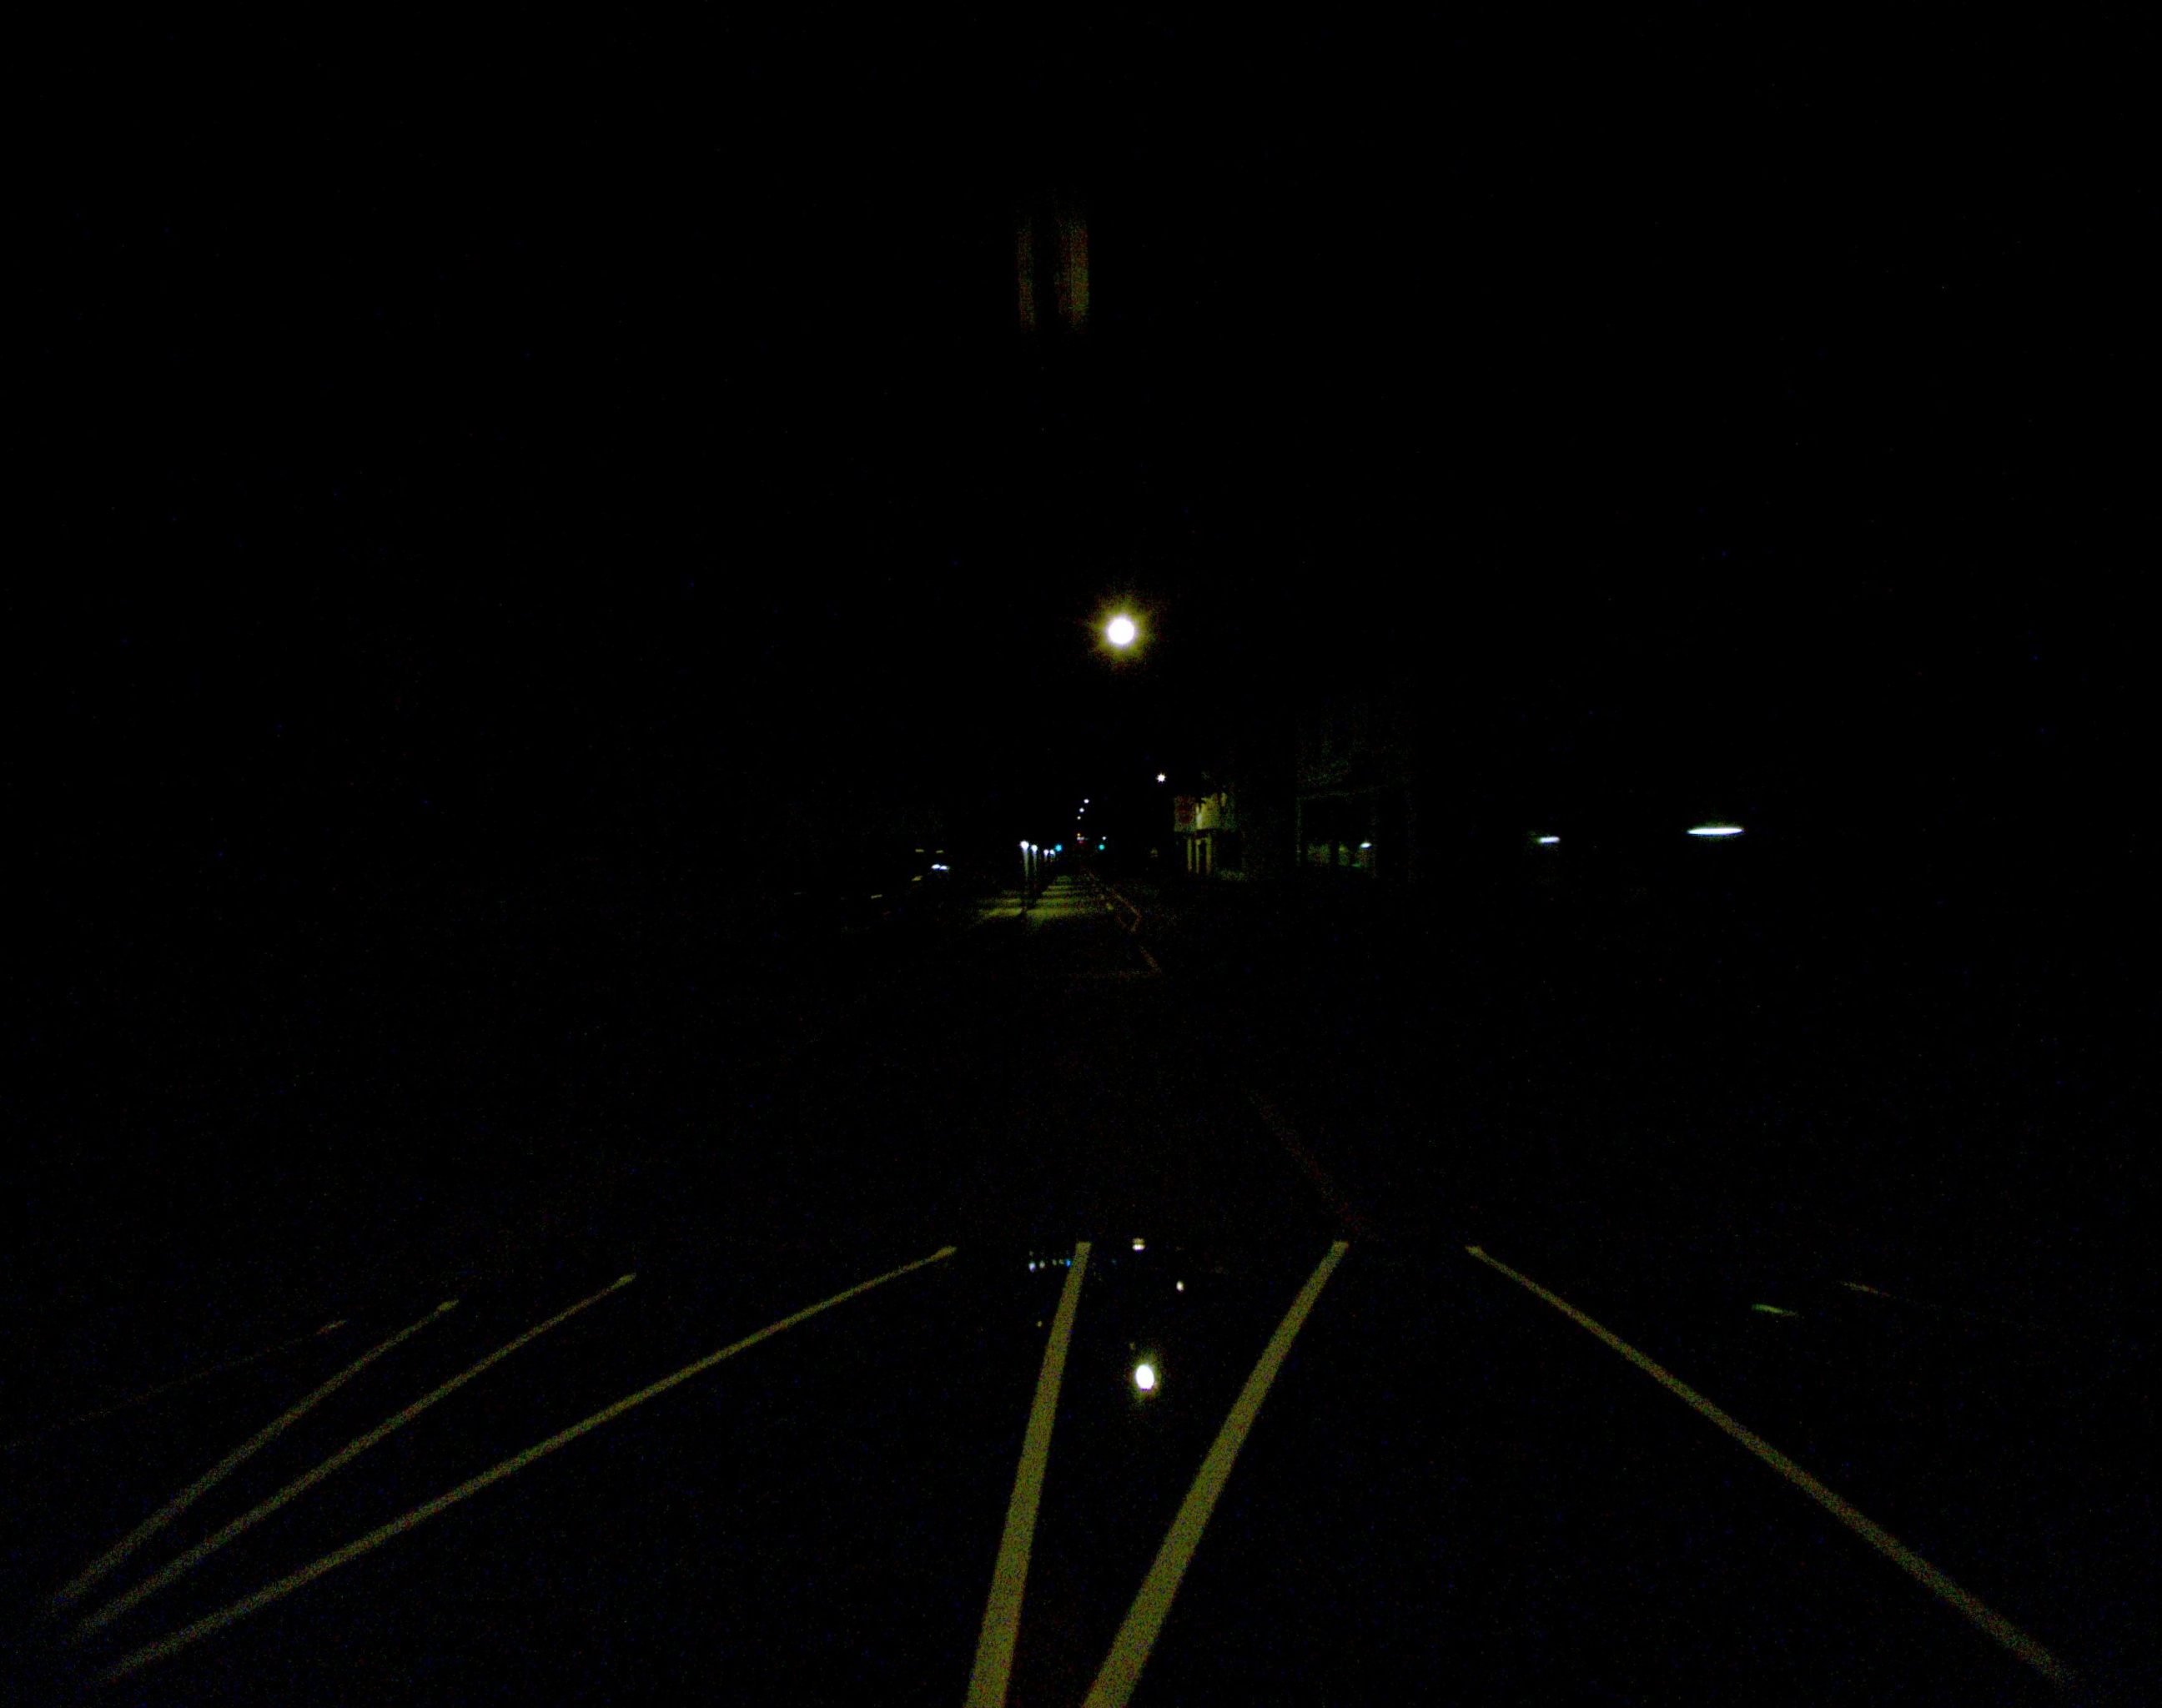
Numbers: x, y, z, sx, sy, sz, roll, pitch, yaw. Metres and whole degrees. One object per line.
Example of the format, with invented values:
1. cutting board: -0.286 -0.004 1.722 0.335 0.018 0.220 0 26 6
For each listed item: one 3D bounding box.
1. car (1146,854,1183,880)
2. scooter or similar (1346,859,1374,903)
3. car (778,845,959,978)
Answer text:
1. car: 5.228 0.774 48.161 1.731 1.477 4.290 -2 0 -1
2. scooter or similar: 8.264 0.776 22.534 0.332 1.218 1.335 -2 1 1
3. car: -3.360 0.793 13.102 1.916 1.816 4.899 -1 0 -3
